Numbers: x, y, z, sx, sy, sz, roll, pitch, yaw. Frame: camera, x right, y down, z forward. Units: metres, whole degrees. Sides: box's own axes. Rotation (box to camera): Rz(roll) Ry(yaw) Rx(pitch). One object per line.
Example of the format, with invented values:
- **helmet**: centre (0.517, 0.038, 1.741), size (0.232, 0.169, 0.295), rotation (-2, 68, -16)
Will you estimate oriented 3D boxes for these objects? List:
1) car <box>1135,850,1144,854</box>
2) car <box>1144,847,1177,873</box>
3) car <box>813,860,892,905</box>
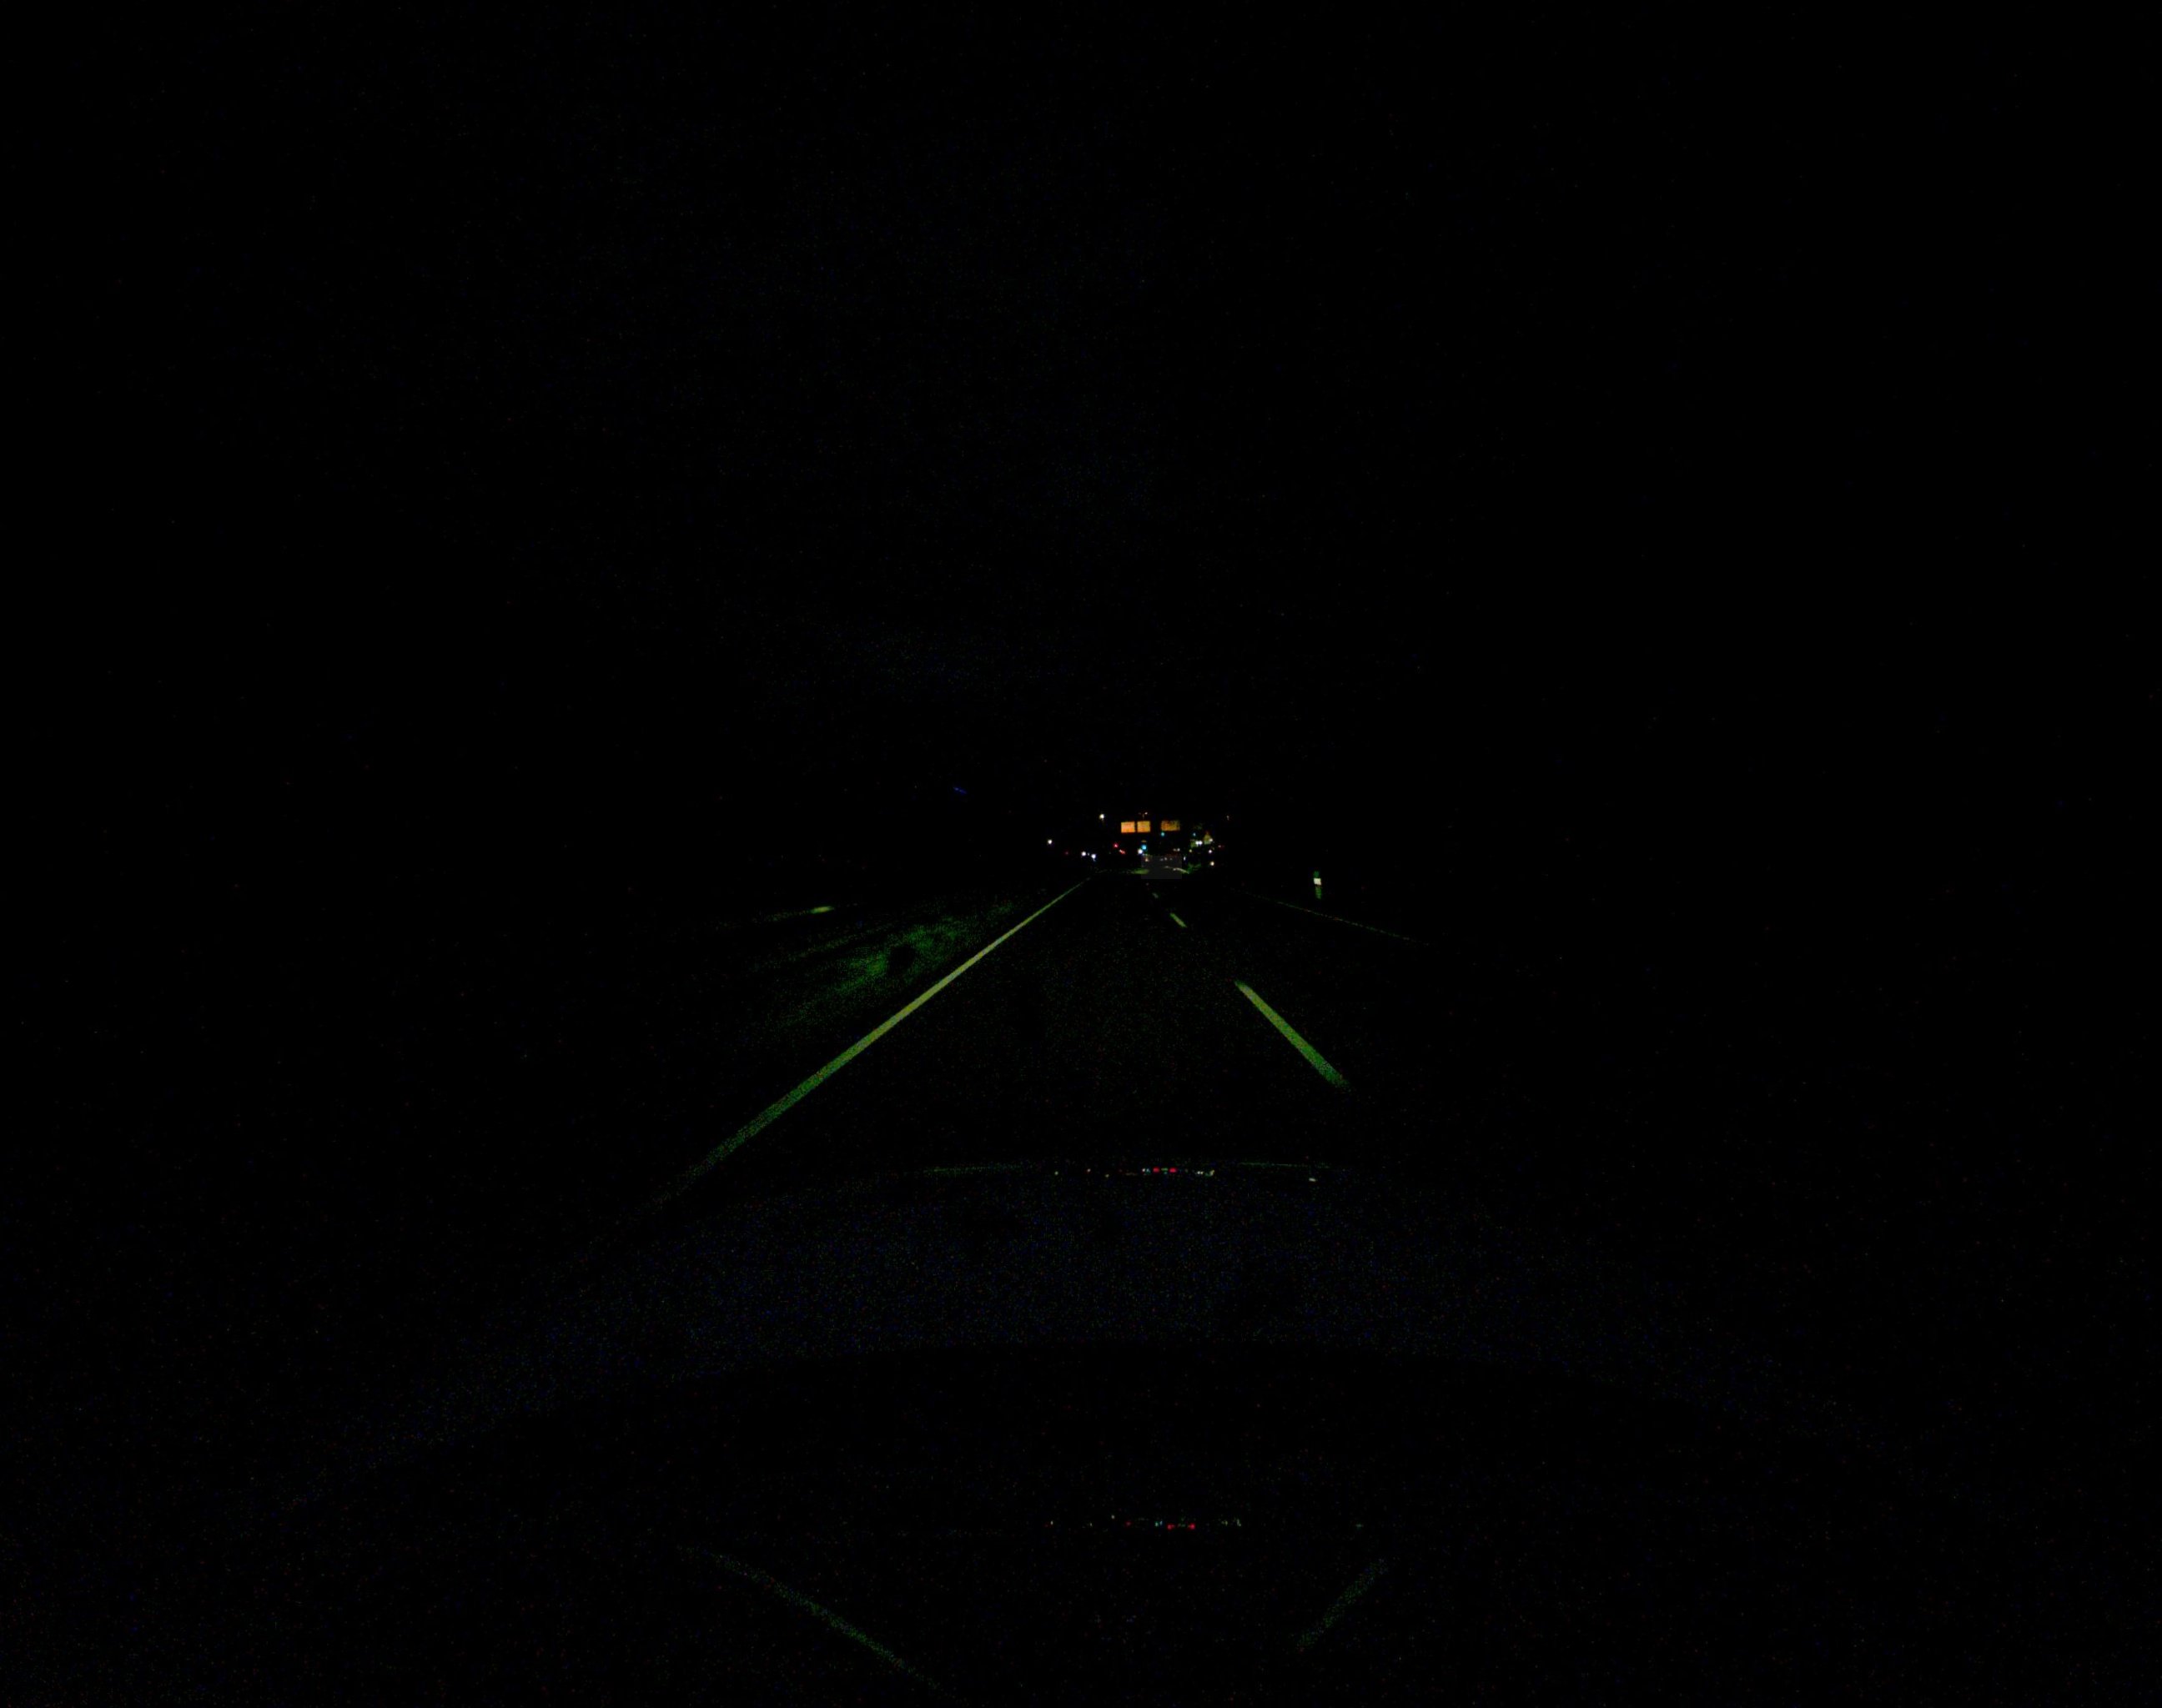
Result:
- **car**: centre (18.360, -0.615, 254.476), size (1.979, 1.425, 4.549), rotation (-1, 1, 13)
- **car**: centre (5.356, 0.392, 55.153), size (1.999, 1.611, 3.848), rotation (-2, 0, 3)
- **car**: centre (-8.936, 1.074, 32.190), size (1.828, 1.469, 3.847), rotation (-4, 0, 1)
